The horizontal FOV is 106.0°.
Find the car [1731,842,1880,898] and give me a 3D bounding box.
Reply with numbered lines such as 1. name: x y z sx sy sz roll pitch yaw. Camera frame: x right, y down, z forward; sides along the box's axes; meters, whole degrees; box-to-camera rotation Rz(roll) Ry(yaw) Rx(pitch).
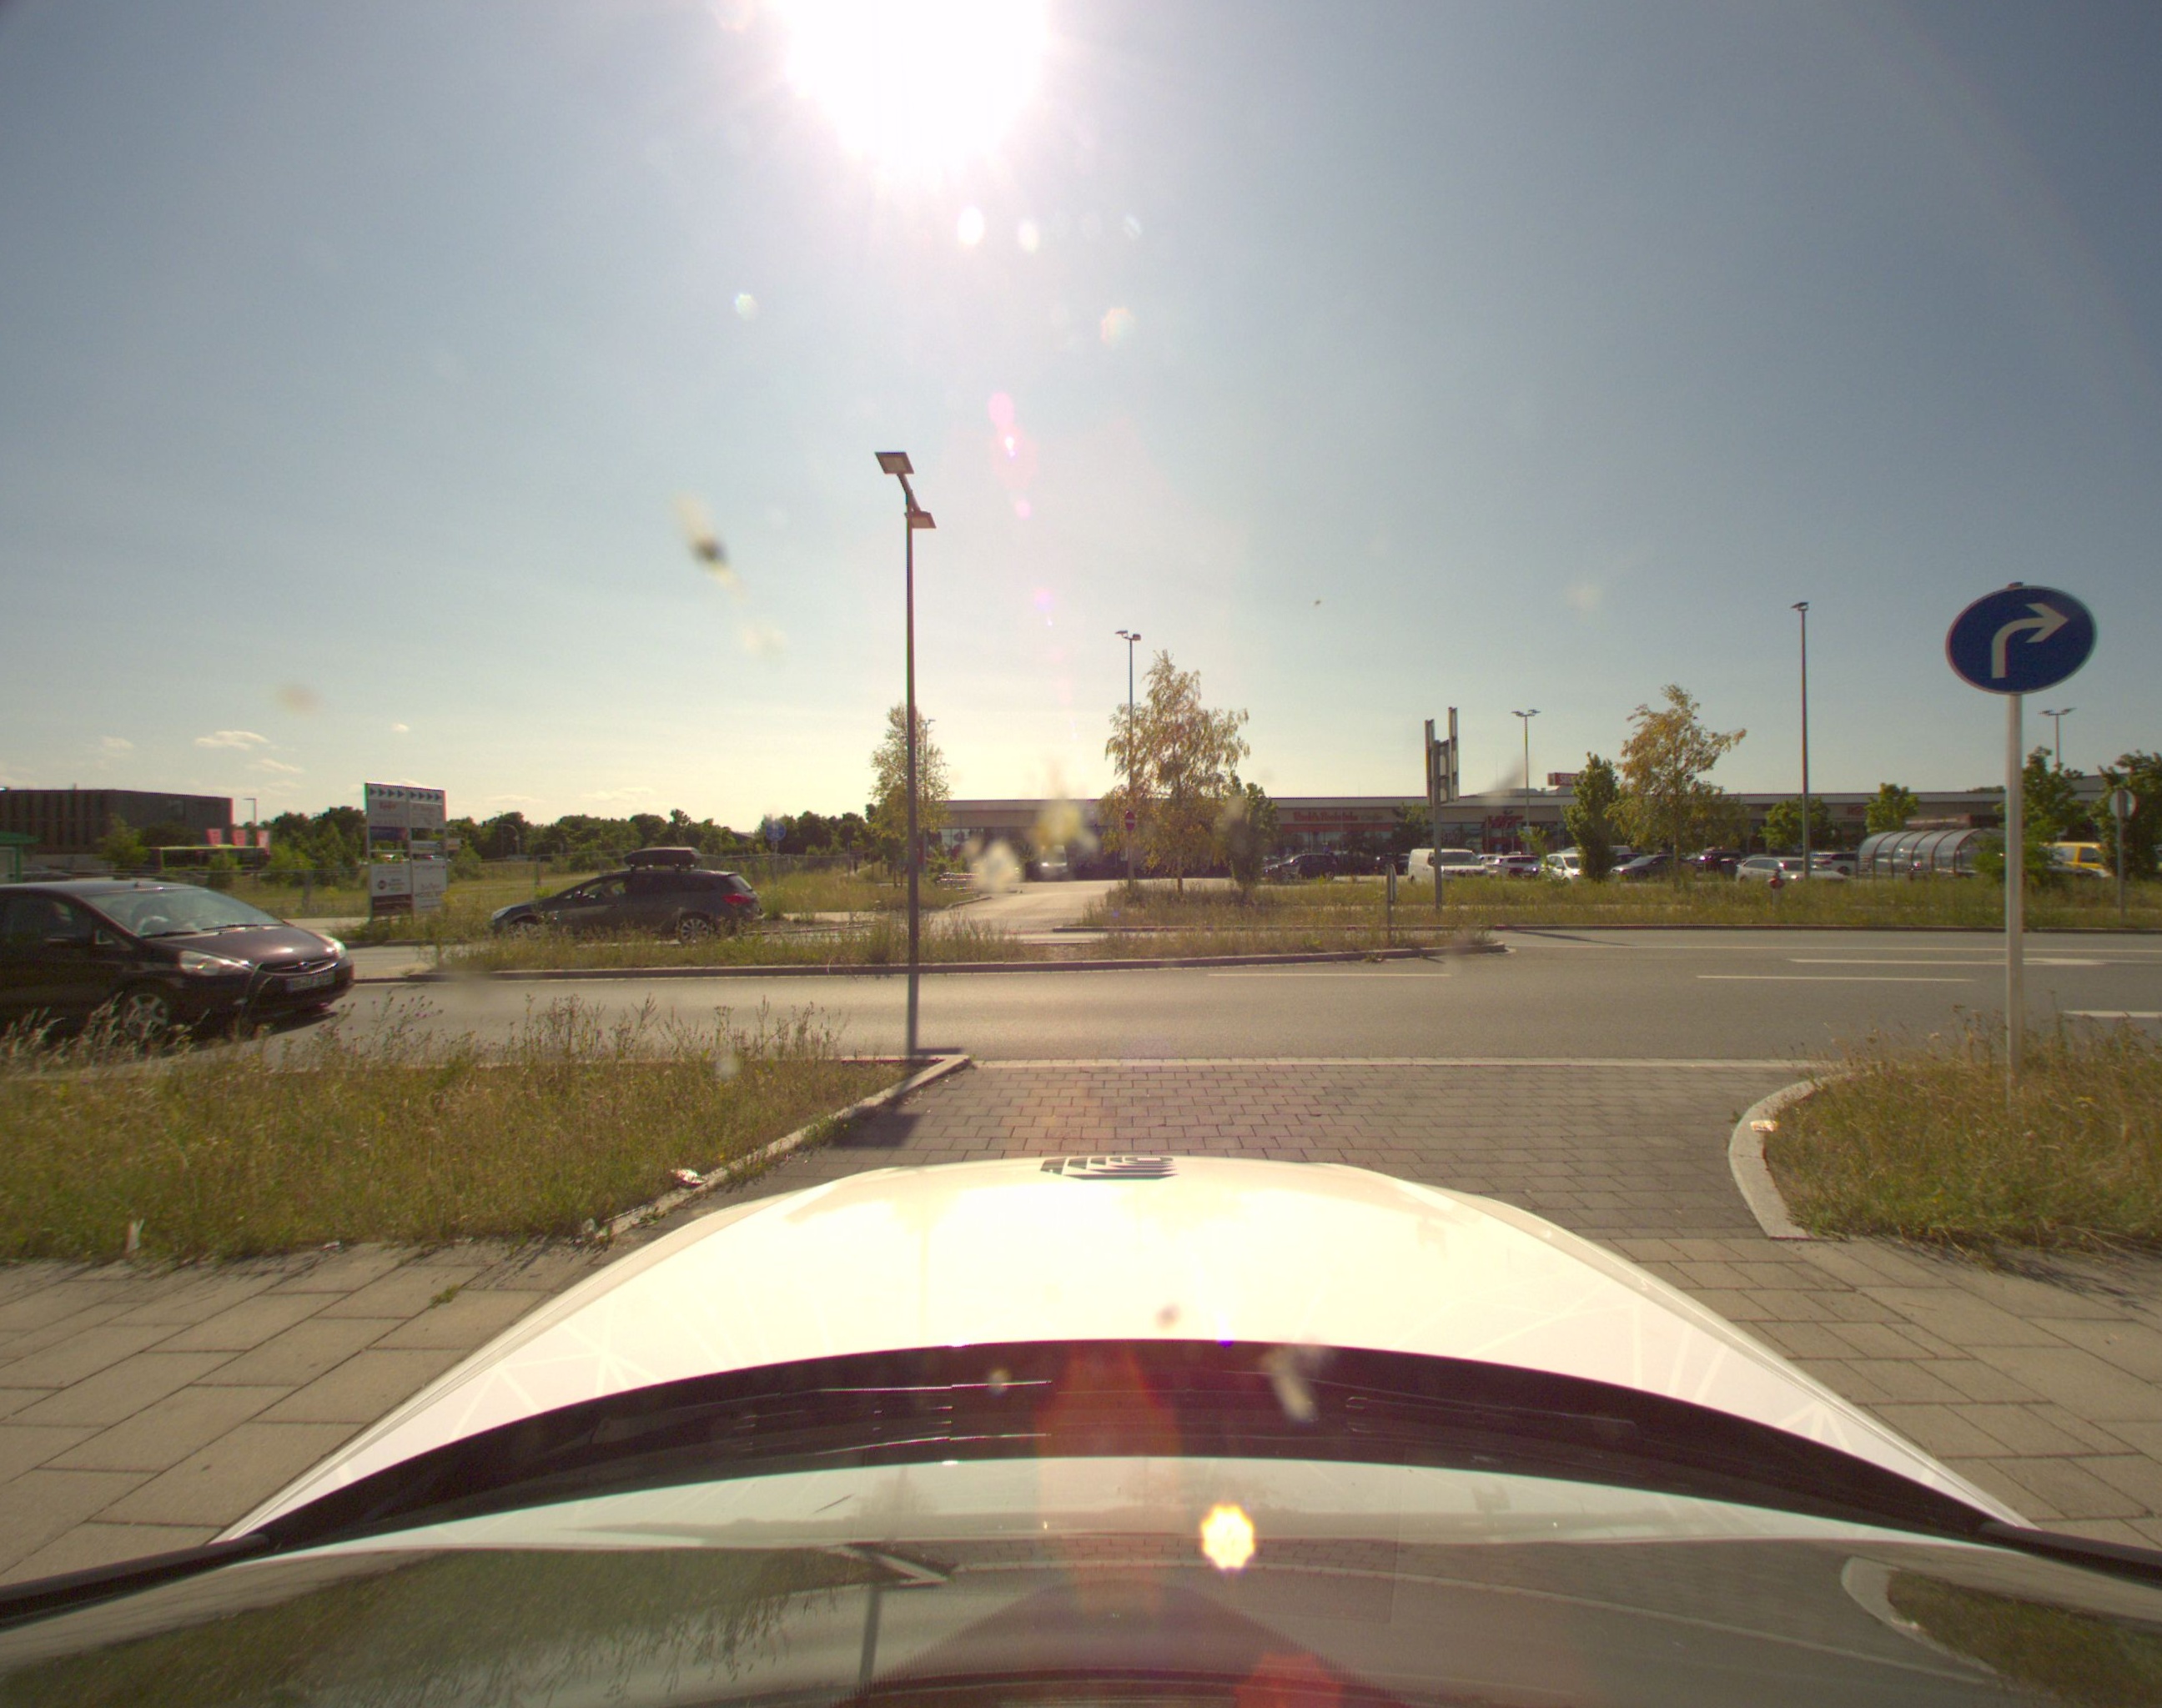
1. car: 28.032 0.572 31.791 2.143 2.013 5.133 -1 0 13

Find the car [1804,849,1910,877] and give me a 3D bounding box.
1. car: 42.940 0.489 45.125 4.321 1.520 1.655 0 -1 0

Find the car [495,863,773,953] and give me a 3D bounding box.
1. car: -8.226 0.945 15.447 4.187 1.517 1.991 0 -1 -13

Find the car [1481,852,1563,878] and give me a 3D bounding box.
1. car: 24.932 0.601 46.112 3.713 1.390 1.729 -1 0 -5

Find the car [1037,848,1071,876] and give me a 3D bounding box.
1. car: -2.138 0.564 61.883 2.219 1.977 6.684 -1 0 -5

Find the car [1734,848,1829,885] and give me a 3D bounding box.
1. car: 43.063 0.769 50.129 4.466 2.191 1.995 0 -1 -8

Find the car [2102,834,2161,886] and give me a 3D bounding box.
1. car: 60.956 0.330 45.900 4.457 2.822 1.999 0 -1 -2

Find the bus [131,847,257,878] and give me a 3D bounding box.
1. bus: -85.172 0.739 78.605 2.577 2.735 11.504 0 0 -16

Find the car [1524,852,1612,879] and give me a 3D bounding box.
1. car: 25.983 0.605 43.508 3.713 1.390 1.729 -1 0 -5

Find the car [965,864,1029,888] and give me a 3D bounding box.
1. car: -5.152 1.355 50.112 3.826 1.423 1.769 0 -1 -6

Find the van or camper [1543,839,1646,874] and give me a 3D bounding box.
1. van or camper: 31.327 0.136 49.779 5.018 2.013 2.000 -1 0 0

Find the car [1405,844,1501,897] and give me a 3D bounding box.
1. car: 15.201 0.642 33.618 2.070 2.013 5.238 -1 0 6

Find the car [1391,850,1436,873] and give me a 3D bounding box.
1. car: 25.542 0.565 62.689 1.986 1.707 4.002 -1 0 2

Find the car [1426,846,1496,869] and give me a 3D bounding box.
1. car: 24.248 0.229 52.030 3.713 1.390 1.729 -1 0 -5

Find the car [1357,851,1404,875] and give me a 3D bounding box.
1. car: 22.870 0.681 62.349 1.989 1.707 3.996 -1 0 -2

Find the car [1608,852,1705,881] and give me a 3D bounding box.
1. car: 31.261 0.671 44.345 3.974 1.508 1.874 0 -1 0

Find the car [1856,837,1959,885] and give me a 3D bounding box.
1. car: 49.097 0.408 48.398 4.466 2.822 1.995 0 -1 -8

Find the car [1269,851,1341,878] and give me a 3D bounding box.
1. car: 13.329 0.620 48.605 3.783 1.508 1.731 -1 0 -2

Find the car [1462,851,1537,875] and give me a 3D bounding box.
1. car: 25.234 0.520 49.150 3.713 1.390 1.729 -1 0 -5

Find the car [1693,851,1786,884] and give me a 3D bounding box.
1. car: 42.976 0.851 53.235 4.452 2.103 2.001 0 -1 2

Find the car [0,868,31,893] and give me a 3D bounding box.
1. car: -80.291 1.932 59.796 1.825 1.860 3.980 0 -1 -15

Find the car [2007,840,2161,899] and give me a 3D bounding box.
1. car: 37.549 0.511 29.963 2.141 2.013 5.137 -1 0 15

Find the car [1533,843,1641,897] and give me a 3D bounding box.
1. car: 20.362 0.618 33.035 2.143 2.013 5.133 -1 0 13

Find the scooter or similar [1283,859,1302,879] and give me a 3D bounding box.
1. scooter or similar: 12.155 0.861 46.904 0.939 1.079 0.653 -1 0 3

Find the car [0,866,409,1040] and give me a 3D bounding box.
1. car: -9.766 0.933 8.484 3.819 1.550 1.999 -1 0 -1
